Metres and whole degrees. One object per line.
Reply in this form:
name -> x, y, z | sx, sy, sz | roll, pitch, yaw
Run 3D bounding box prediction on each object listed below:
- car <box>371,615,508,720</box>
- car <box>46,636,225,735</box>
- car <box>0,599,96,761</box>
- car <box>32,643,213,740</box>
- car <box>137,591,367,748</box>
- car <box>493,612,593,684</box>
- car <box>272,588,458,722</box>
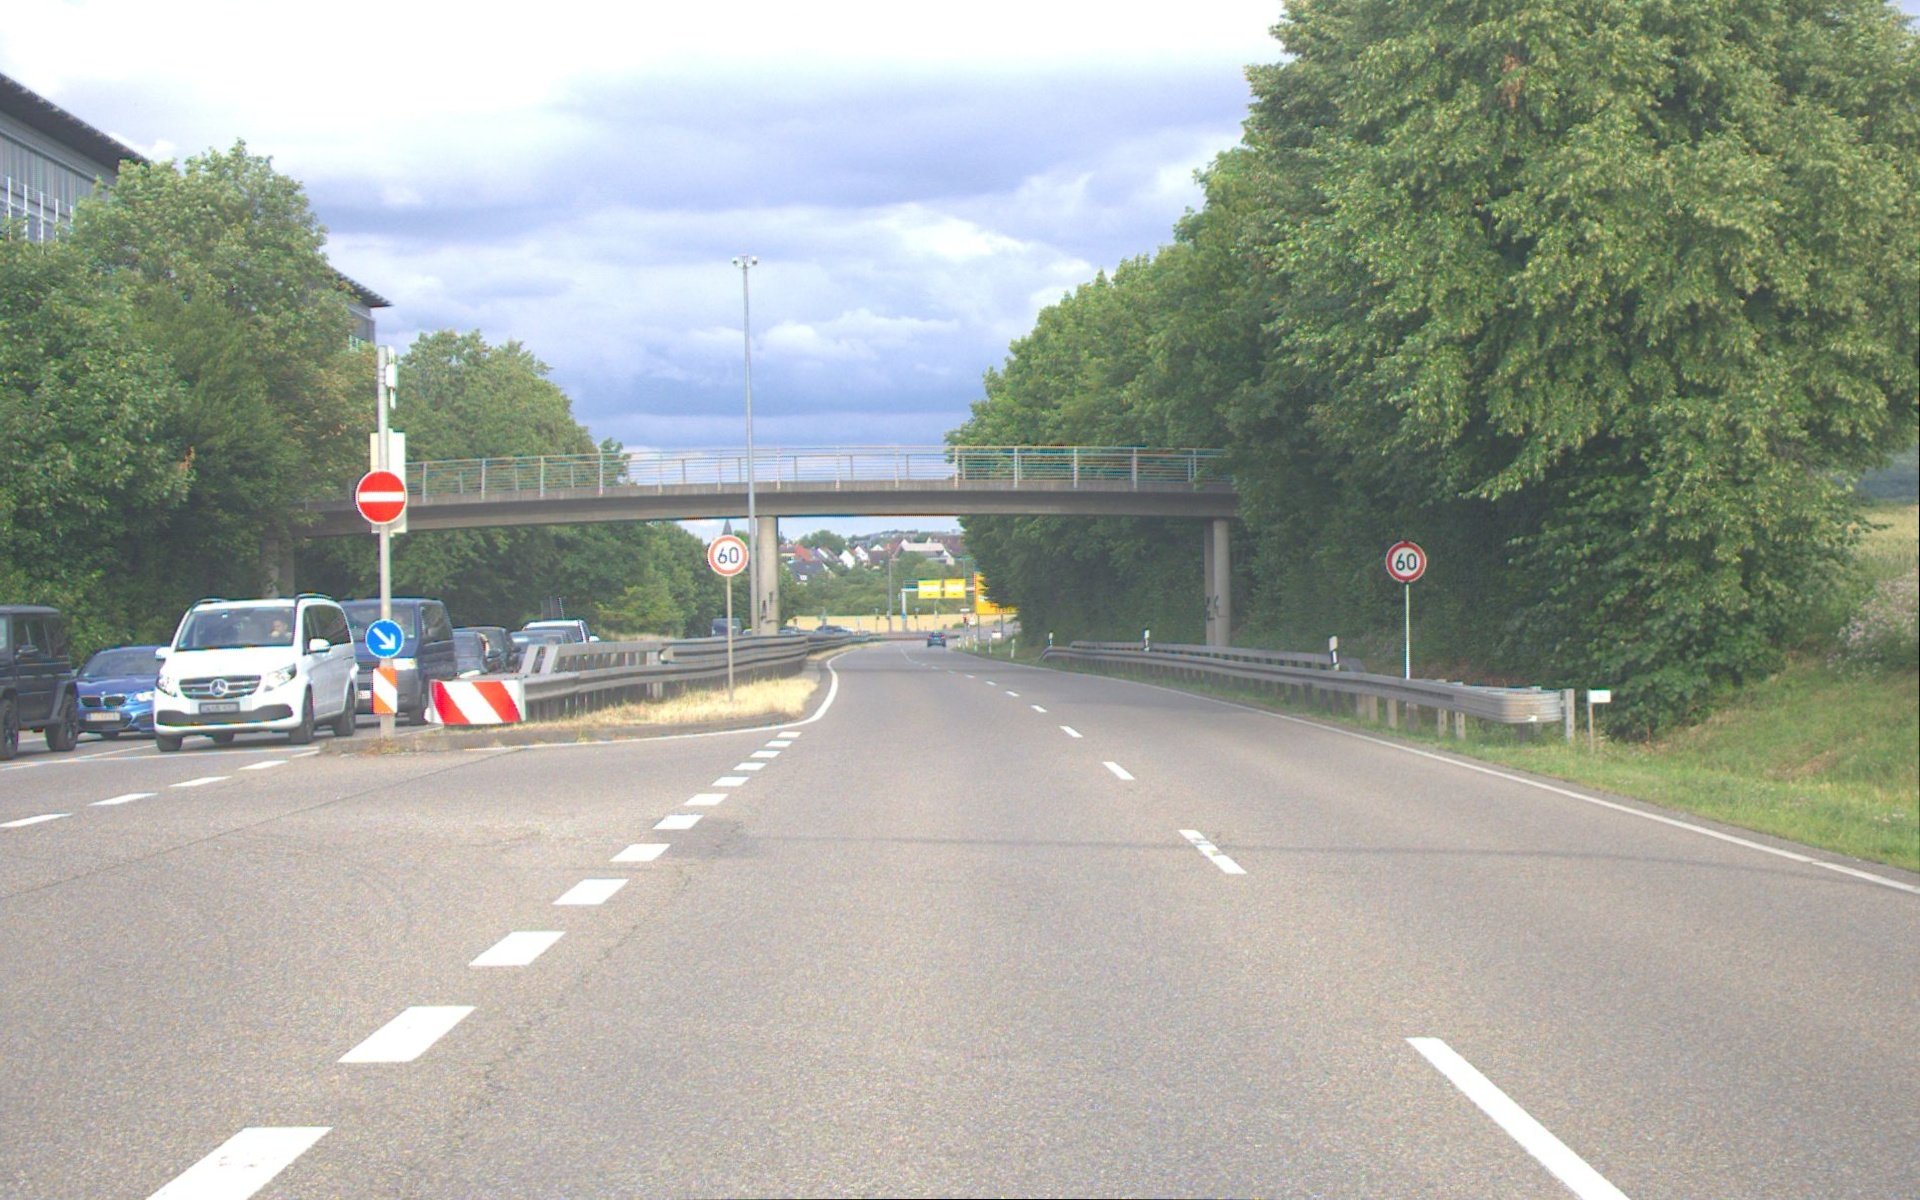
car -> -9.074, 1.150, 60.243 | 1.712, 1.583, 4.555 | -5, 1, -1
car -> -12.346, 1.259, 51.702 | 1.648, 1.383, 4.185 | -1, 0, 0
car -> -12.824, 1.033, 44.693 | 1.934, 1.983, 5.091 | -2, 0, -1
car -> -12.516, 1.345, 51.572 | 1.721, 1.236, 4.000 | -4, 0, -1
car -> -9.168, 0.870, 44.955 | 1.934, 1.866, 5.347 | -2, 0, -1
car -> -9.789, 1.114, 81.051 | 1.822, 1.579, 4.791 | -2, 0, -1
car -> -8.998, 0.809, 52.366 | 1.898, 1.910, 5.050 | -1, 0, 0
